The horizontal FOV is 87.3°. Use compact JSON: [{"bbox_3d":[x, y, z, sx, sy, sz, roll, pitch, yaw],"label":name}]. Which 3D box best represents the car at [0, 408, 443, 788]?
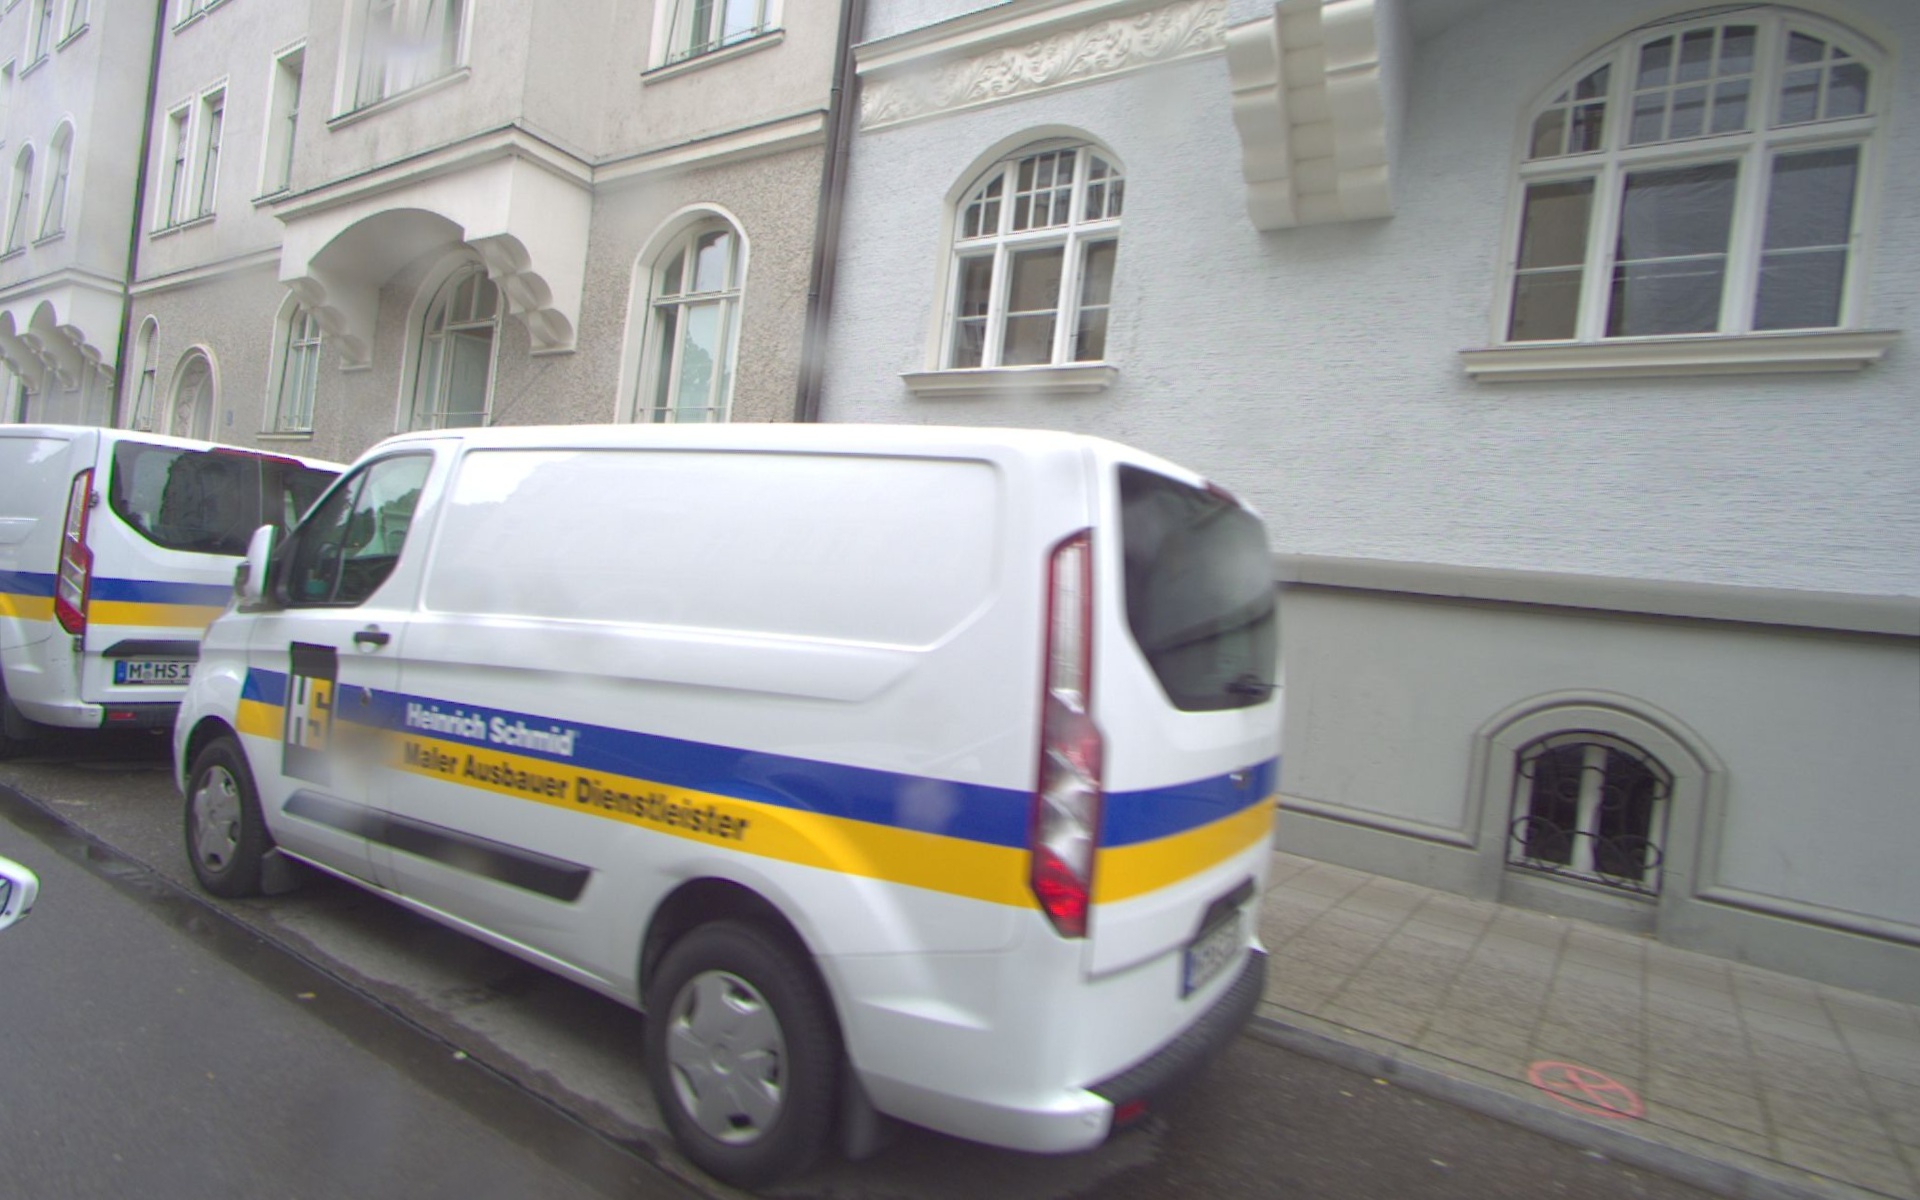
[{"bbox_3d":[-6.133,-0.162,7.258,4.806,1.942,1.995,6,0,32],"label":"car"}]

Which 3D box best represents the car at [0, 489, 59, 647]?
[{"bbox_3d":[-11.232,-0.531,10.626,3.823,1.532,1.634,7,0,35],"label":"car"}]

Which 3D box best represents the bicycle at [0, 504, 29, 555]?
[{"bbox_3d":[-24.195,-1.810,25.105,2.713,1.128,0.838,7,3,35],"label":"bicycle"}]

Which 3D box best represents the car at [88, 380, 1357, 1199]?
[{"bbox_3d":[-1.206,0.382,4.045,4.797,1.942,1.996,7,0,31],"label":"car"}]
